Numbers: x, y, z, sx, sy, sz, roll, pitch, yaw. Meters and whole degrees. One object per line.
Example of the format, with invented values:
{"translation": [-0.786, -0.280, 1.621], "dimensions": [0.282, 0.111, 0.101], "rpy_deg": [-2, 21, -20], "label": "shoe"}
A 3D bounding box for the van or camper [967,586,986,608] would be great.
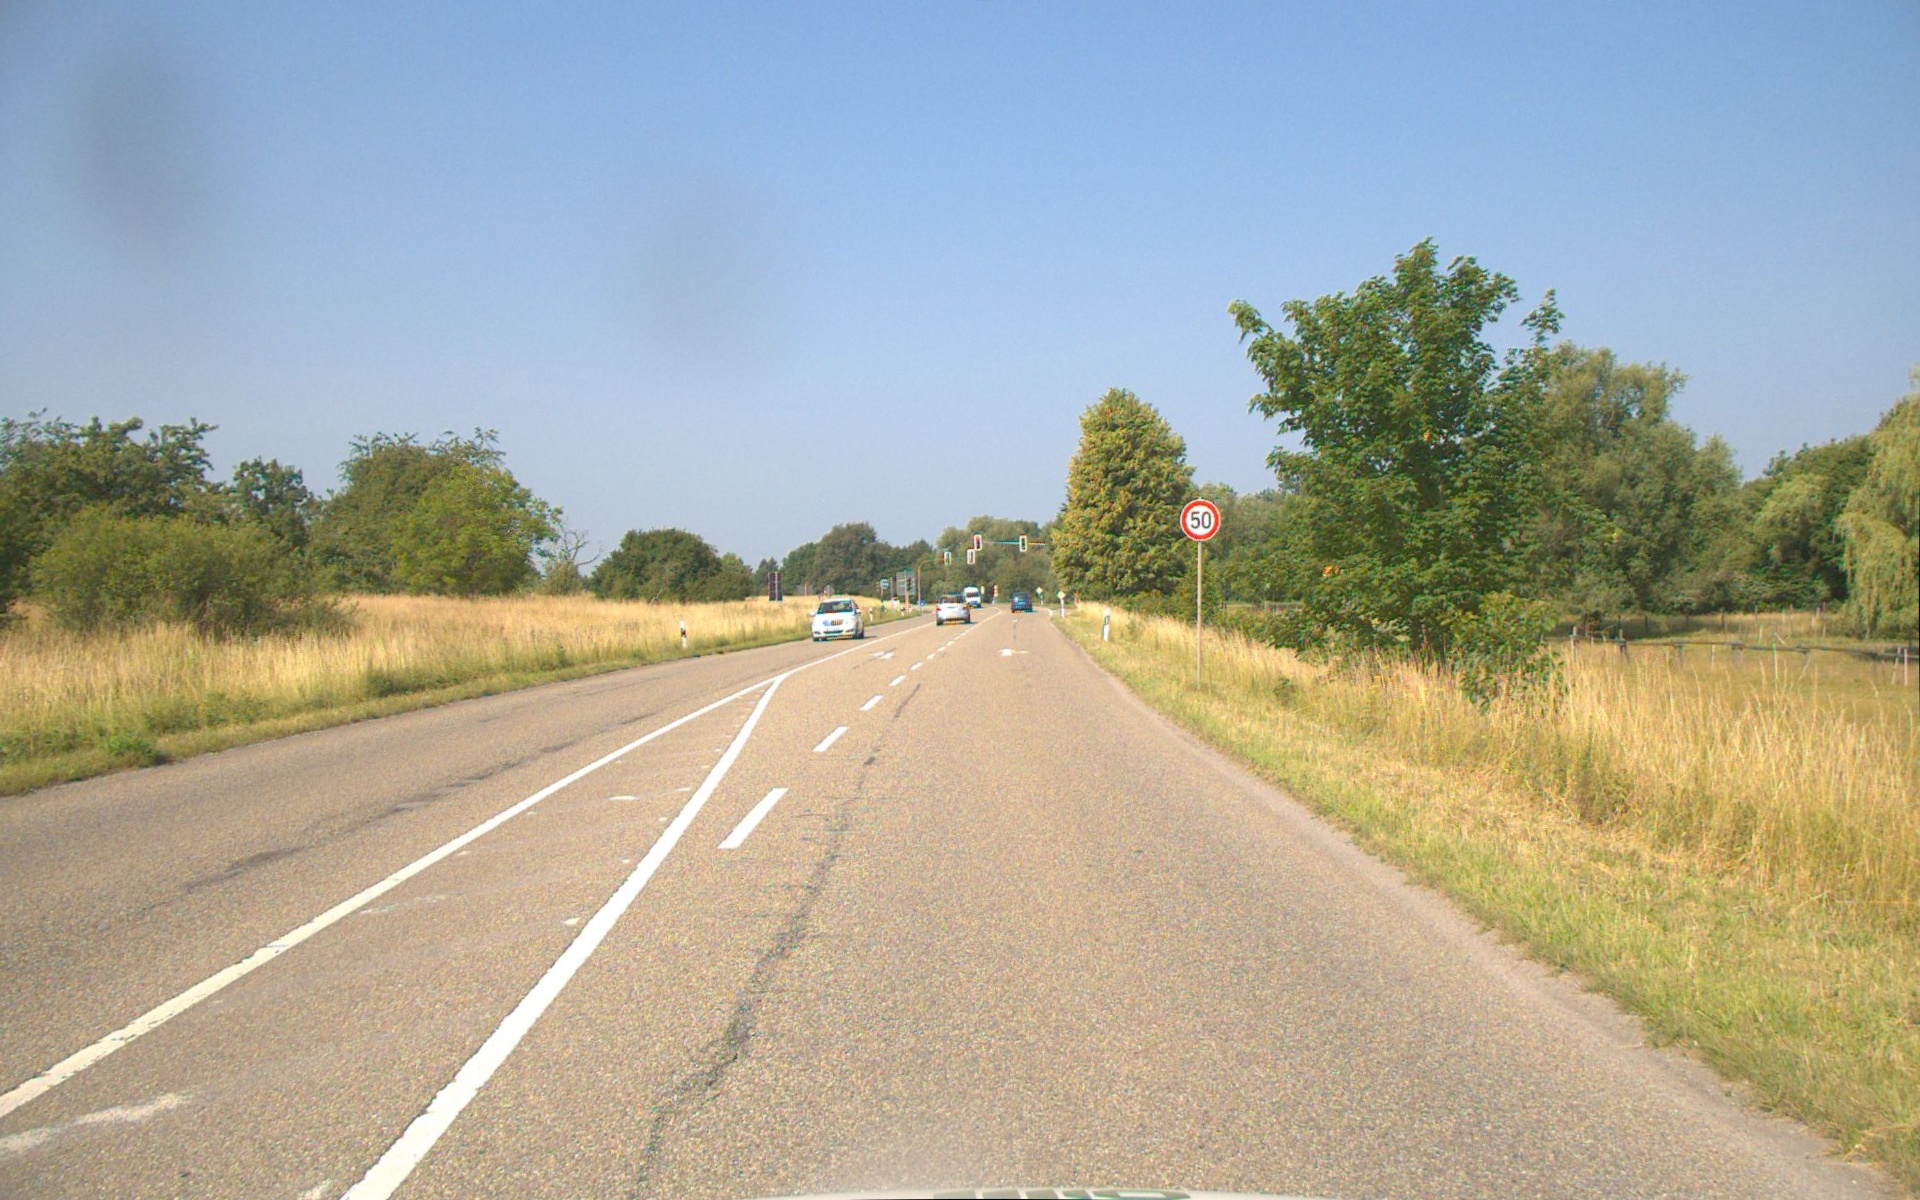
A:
{"translation": [2.119, -0.425, 215.529], "dimensions": [2.217, 2.757, 5.264], "rpy_deg": [1, 0, 3], "label": "van or camper"}

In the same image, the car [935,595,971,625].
{"translation": [-0.380, 0.546, 91.882], "dimensions": [1.860, 1.538, 4.001], "rpy_deg": [1, 0, 1], "label": "car"}

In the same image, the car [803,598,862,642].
{"translation": [-4.949, 0.757, 64.844], "dimensions": [1.775, 1.612, 4.226], "rpy_deg": [-2, 0, 2], "label": "car"}

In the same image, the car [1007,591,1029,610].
{"translation": [4.860, 0.015, 138.334], "dimensions": [1.778, 1.547, 4.001], "rpy_deg": [-1, 0, 2], "label": "car"}
